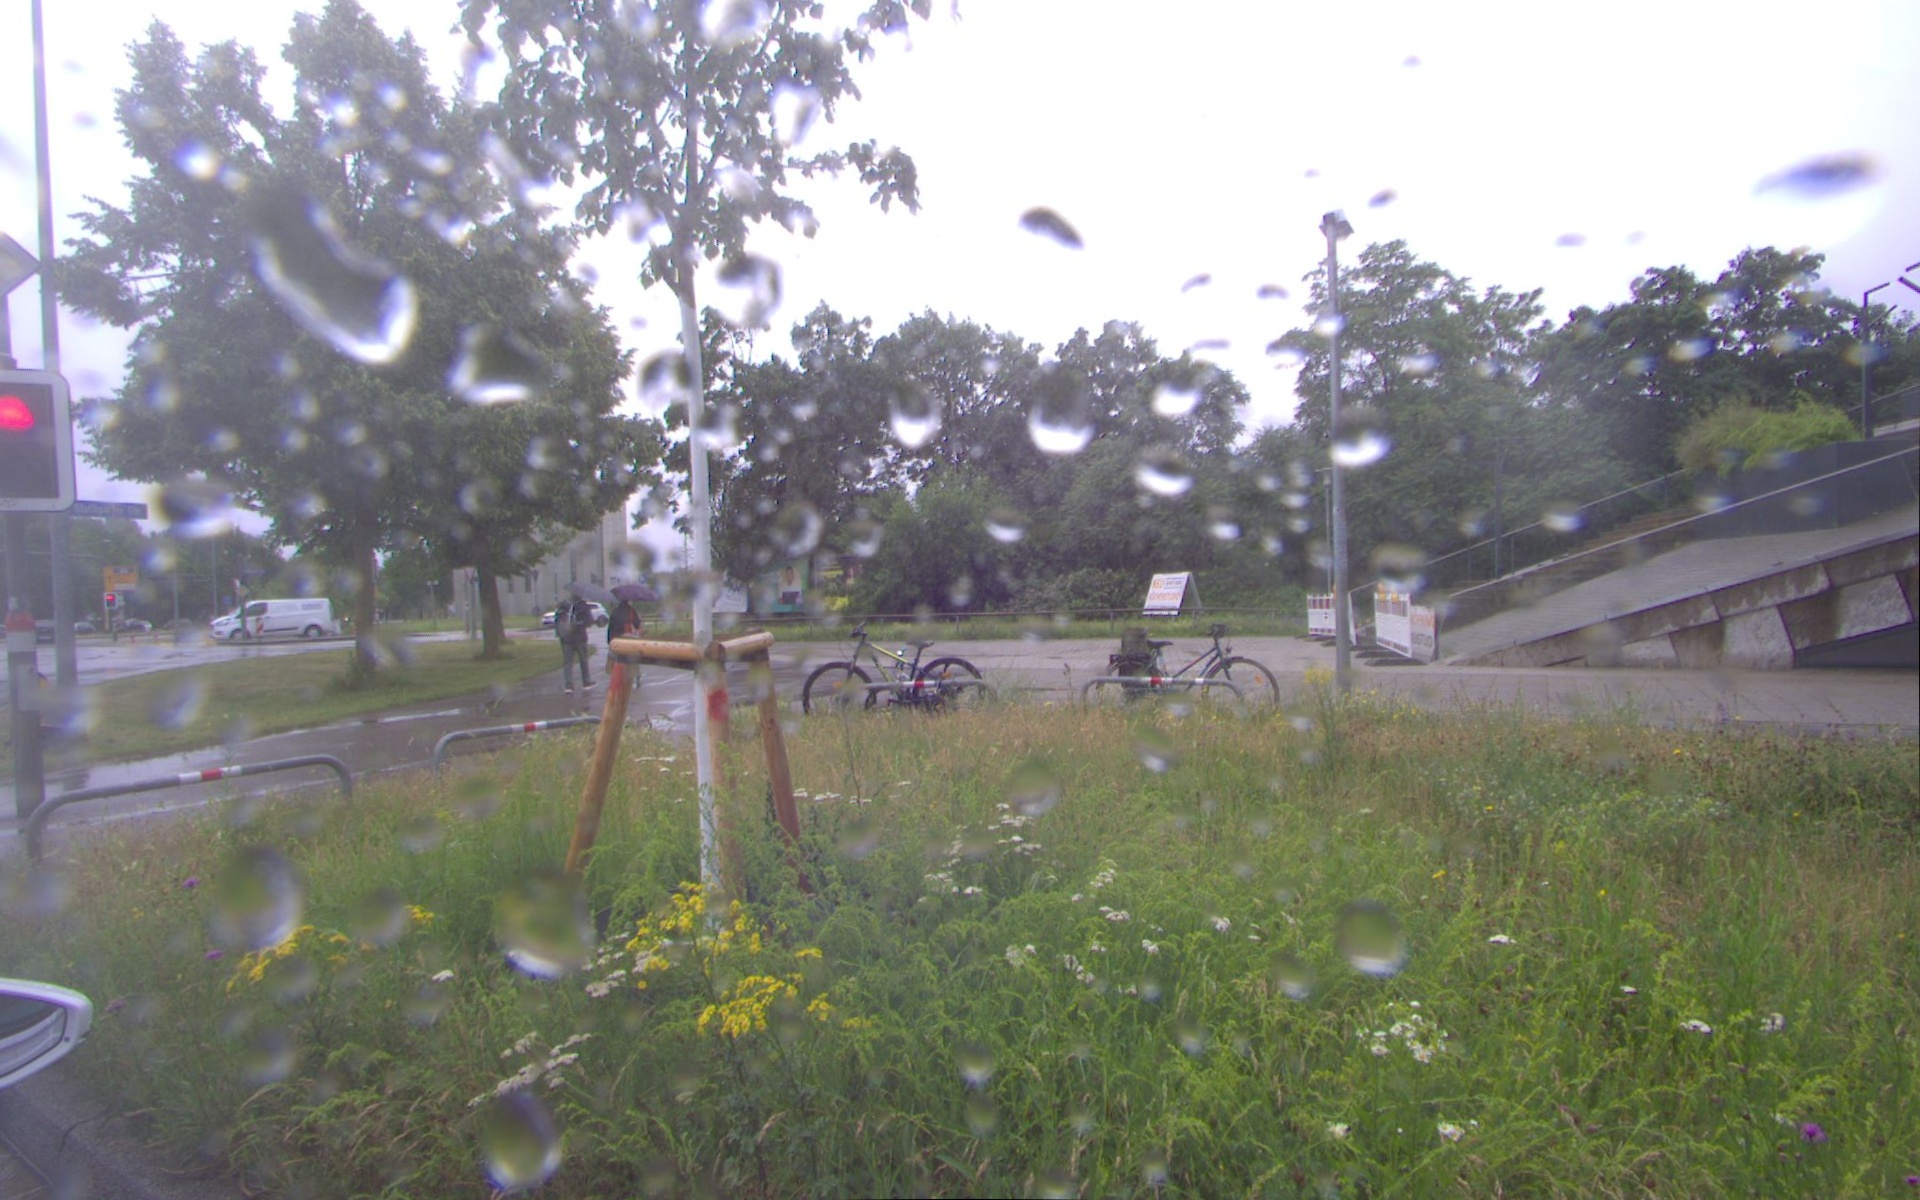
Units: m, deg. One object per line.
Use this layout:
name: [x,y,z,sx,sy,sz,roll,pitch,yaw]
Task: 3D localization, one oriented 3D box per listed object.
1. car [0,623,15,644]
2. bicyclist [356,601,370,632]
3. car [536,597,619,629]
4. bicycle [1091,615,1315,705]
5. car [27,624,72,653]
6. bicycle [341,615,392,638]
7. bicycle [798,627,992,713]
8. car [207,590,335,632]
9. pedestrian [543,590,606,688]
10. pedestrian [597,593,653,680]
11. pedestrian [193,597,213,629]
car: [-77.163,2.648,79.396,1.771,1.683,3.992,0,-2,-20]
bicyclist: [-34.694,0.944,58.173,0.580,1.764,0.496,0,-2,-15]
car: [-23.737,0.764,62.321,1.968,1.876,4.759,-1,0,25]
bicycle: [2.234,0.555,9.312,1.972,0.796,0.454,-1,-2,16]
car: [-49.898,2.064,54.855,3.947,1.473,1.608,-1,0,45]
bicycle: [-34.484,1.560,58.243,2.466,1.330,0.571,0,-2,-18]
bicycle: [-0.617,0.666,9.670,1.823,0.797,0.380,0,-2,-2]
car: [-32.966,0.591,48.035,1.978,1.874,4.737,-2,-3,41]
pedestrian: [-6.203,0.624,16.115,0.730,1.542,0.620,-1,-1,31]
pedestrian: [-5.881,0.636,17.578,0.564,1.480,0.679,-1,1,28]
pedestrian: [-45.500,0.812,60.198,0.660,1.892,0.813,-2,-2,40]
